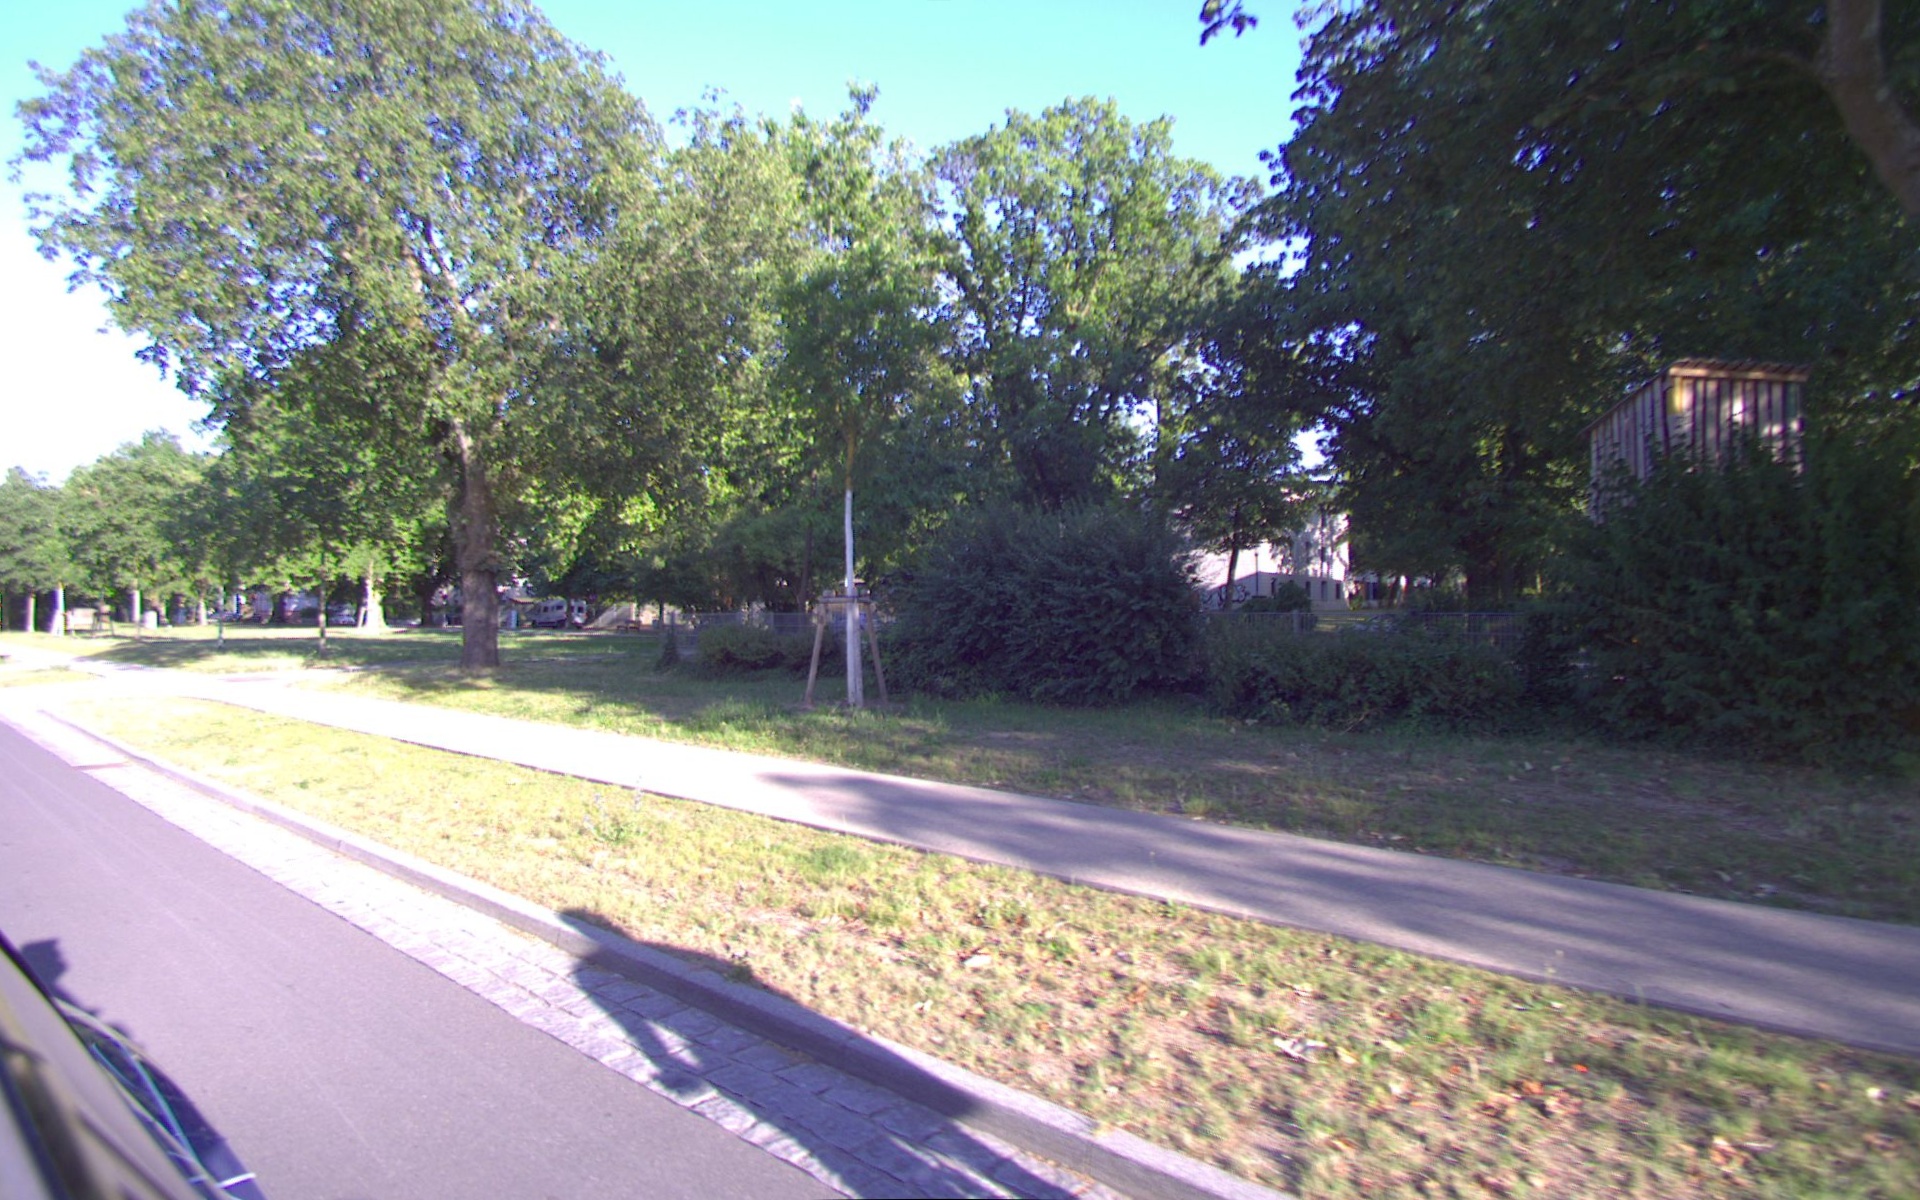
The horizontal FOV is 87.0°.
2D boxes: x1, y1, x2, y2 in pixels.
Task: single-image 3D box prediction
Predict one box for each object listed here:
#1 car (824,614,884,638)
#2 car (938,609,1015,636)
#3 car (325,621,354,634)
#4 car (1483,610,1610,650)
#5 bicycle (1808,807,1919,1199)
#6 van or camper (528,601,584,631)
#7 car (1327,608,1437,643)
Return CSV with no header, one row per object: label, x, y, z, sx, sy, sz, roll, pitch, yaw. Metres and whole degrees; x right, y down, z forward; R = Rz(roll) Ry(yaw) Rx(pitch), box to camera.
car,-6.403,1.550,60.854,3.647,1.378,1.506,-1,-1,41
car,0.842,1.222,54.154,4.106,1.378,1.506,-1,-1,41
car,-73.903,3.298,120.557,3.997,1.475,1.774,-1,0,41
car,21.216,1.066,36.681,3.752,1.378,1.505,-1,-1,43
bicycle,1.730,0.804,0.572,1.914,1.039,0.550,0,-1,41
van or camper,-34.073,1.391,85.310,5.462,2.458,1.973,-1,-2,40
car,16.823,1.014,40.434,3.752,1.302,1.505,-1,-1,43
